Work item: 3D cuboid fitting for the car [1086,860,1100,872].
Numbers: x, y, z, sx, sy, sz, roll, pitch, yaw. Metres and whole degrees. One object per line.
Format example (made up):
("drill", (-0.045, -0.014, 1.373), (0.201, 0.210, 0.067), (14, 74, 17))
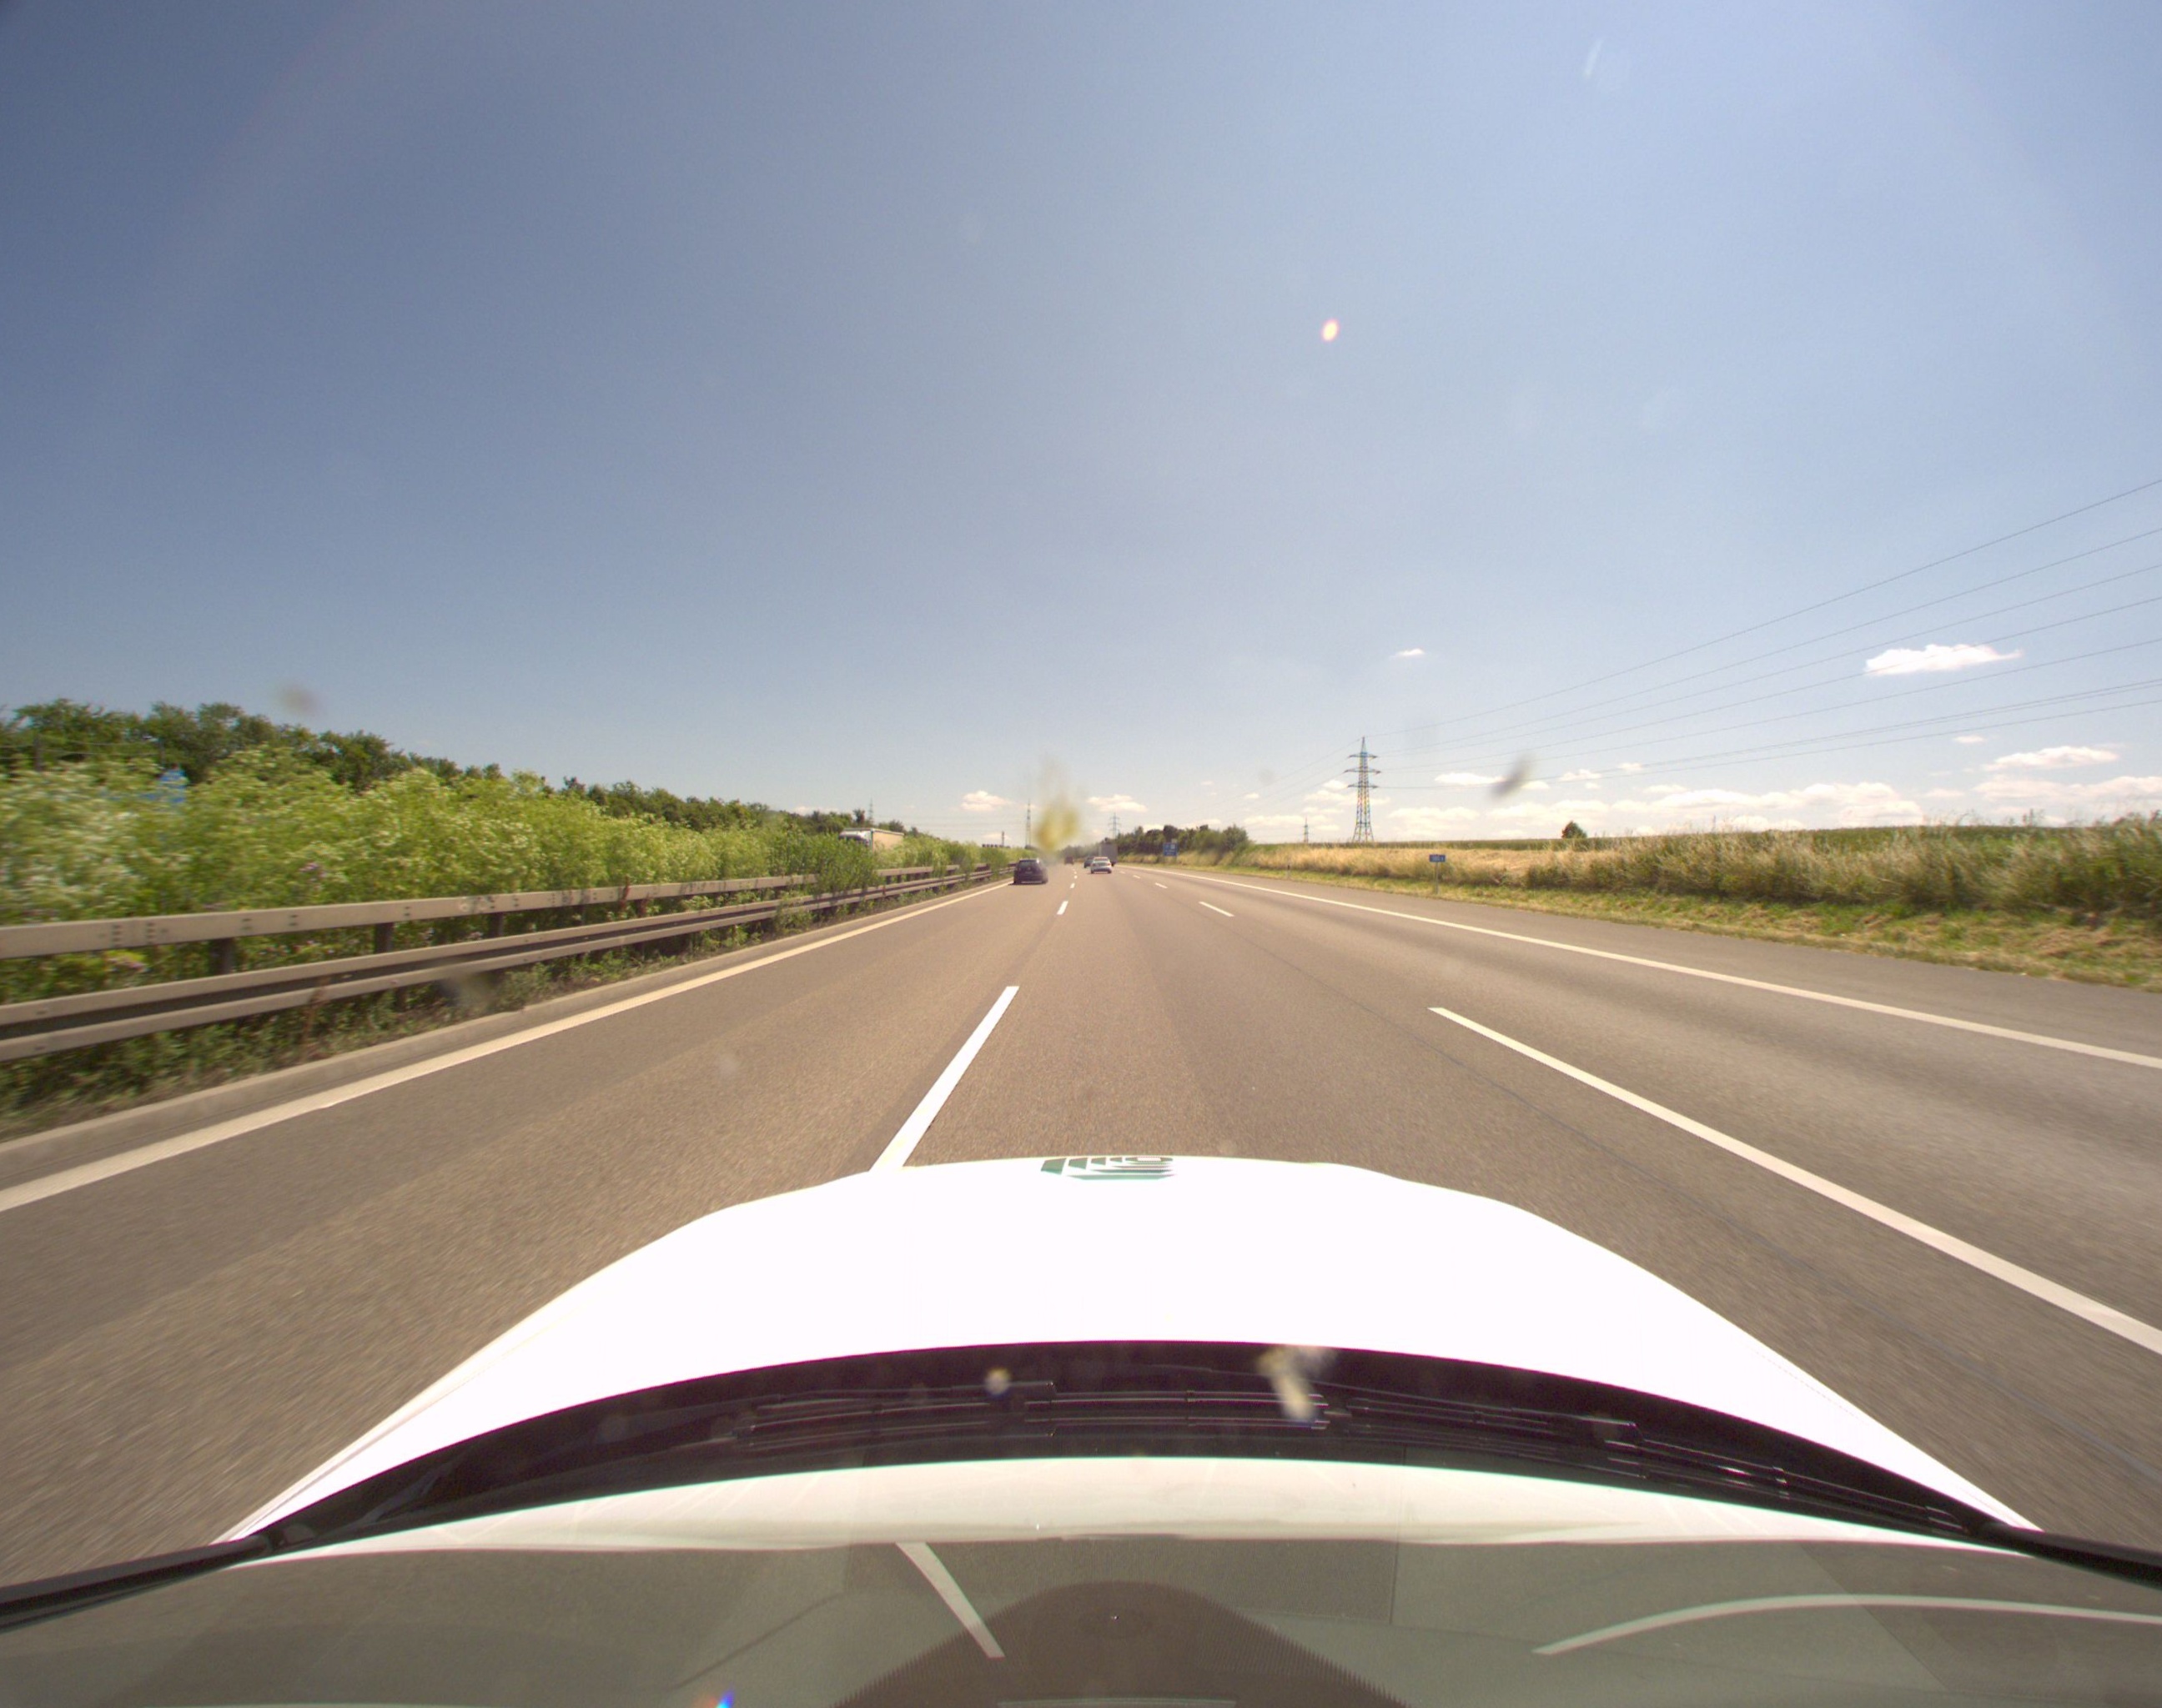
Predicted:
("car", (1.693, 1.648, 111.782), (1.832, 1.541, 3.915), (-1, 0, 1))

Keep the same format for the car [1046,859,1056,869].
("car", (-5.925, 1.953, 161.107), (1.989, 1.860, 3.996), (-1, 0, -3))

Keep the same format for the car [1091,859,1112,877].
("car", (1.764, 1.219, 71.820), (1.813, 1.541, 3.914), (-1, 0, 1))

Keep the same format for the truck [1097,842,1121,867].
("truck", (4.541, 0.073, 133.687), (3.213, 3.924, 9.052), (-1, -1, -2))

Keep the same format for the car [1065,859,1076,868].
("car", (-2.210, 1.937, 172.075), (1.898, 1.926, 3.993), (-1, 0, -5))

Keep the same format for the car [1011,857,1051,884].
("car", (-2.759, 0.896, 45.997), (1.749, 1.429, 4.004), (-1, 0, 3))

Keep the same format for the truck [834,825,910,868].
("truck", (-19.316, -0.576, 76.775), (2.665, 3.518, 17.036), (-1, 0, 0))
